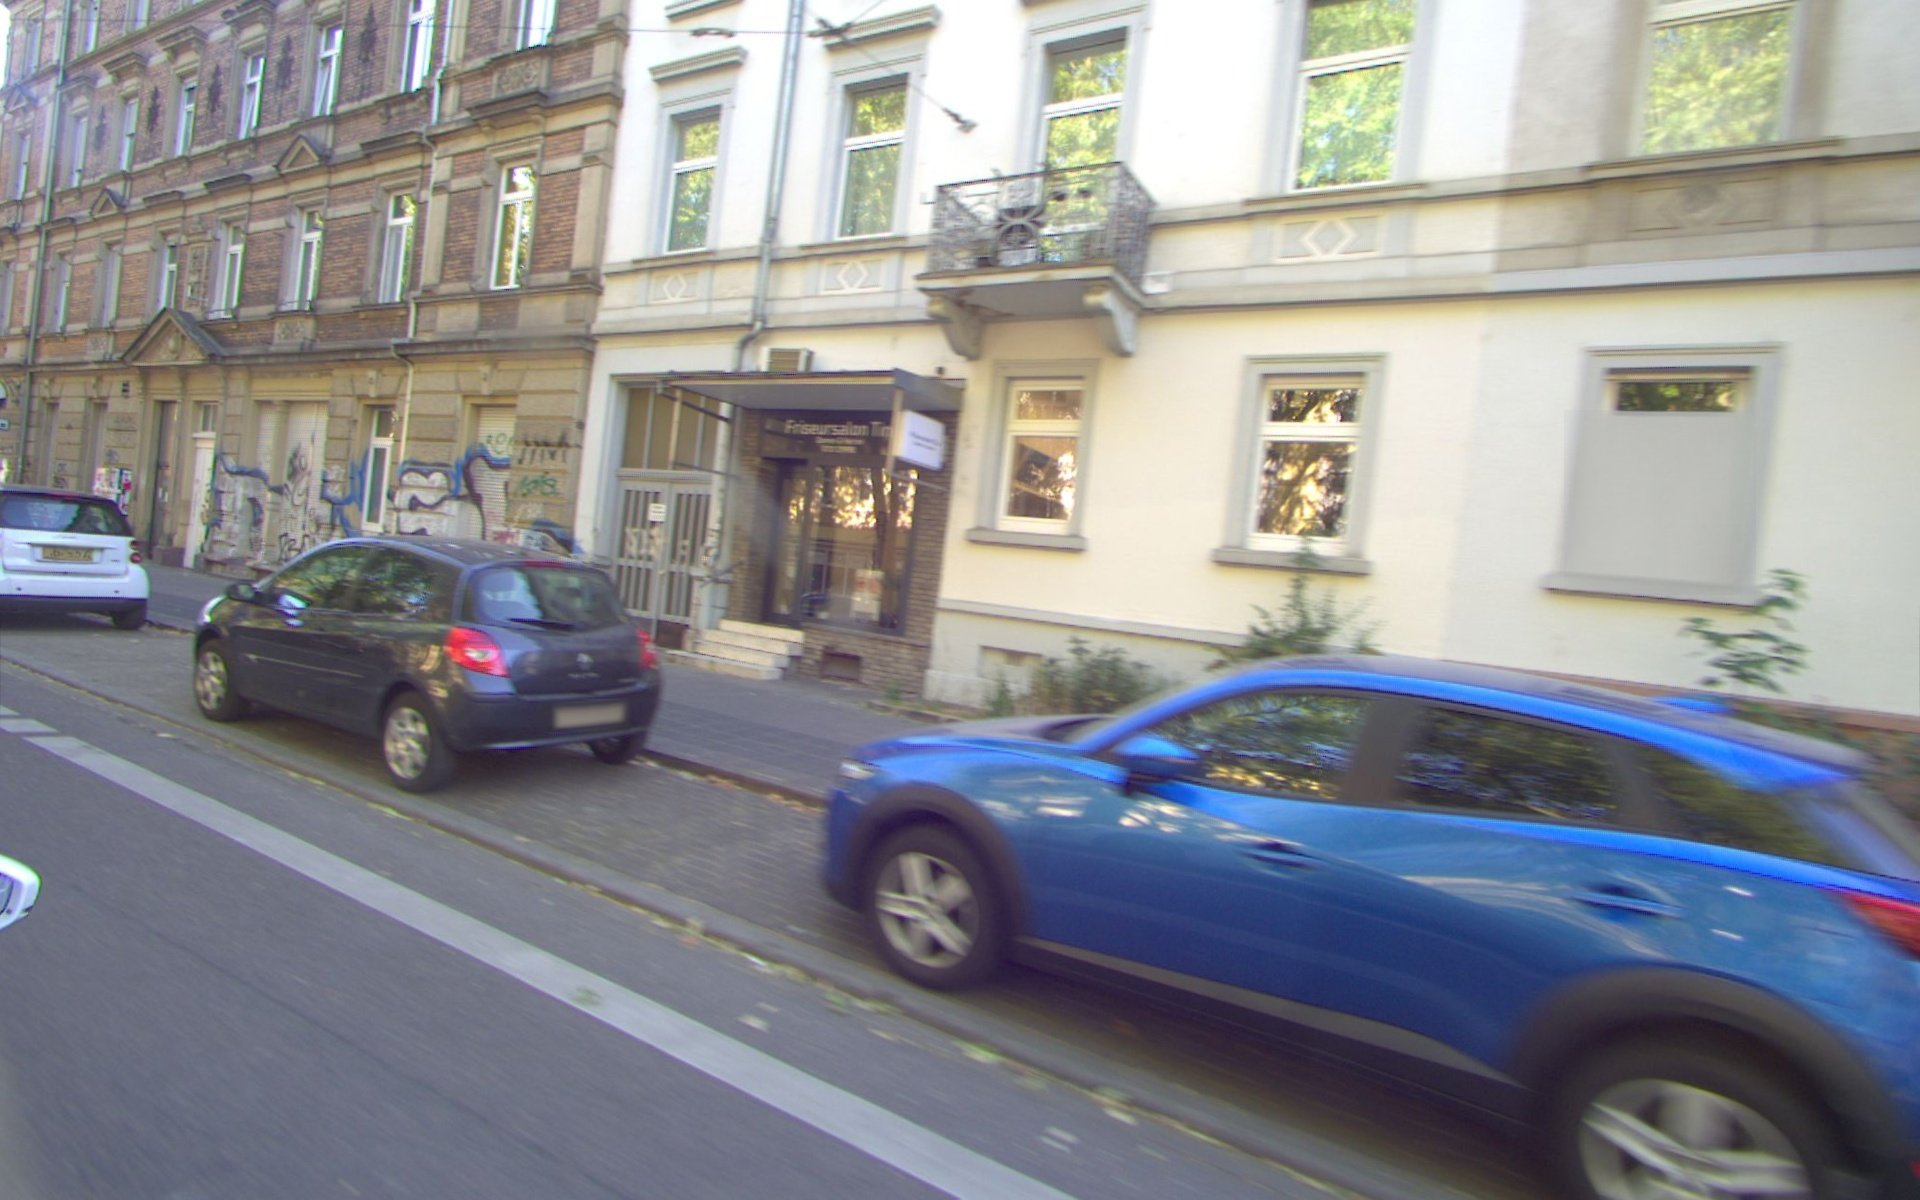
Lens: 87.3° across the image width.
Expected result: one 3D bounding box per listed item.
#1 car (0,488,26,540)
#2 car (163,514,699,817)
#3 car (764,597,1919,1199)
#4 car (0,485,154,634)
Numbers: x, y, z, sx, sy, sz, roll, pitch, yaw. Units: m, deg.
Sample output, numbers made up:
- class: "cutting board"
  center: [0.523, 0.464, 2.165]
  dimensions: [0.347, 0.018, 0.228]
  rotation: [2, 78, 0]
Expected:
- class: "car"
  center: [-36.787, -3.420, 36.071]
  dimensions: [1.845, 1.820, 4.385]
  rotation: [7, -1, 31]
- class: "car"
  center: [-3.892, 0.298, 7.266]
  dimensions: [3.701, 1.504, 1.710]
  rotation: [6, 3, 31]
- class: "car"
  center: [1.347, 0.926, 4.118]
  dimensions: [3.960, 1.476, 1.879]
  rotation: [7, 3, 33]
- class: "car"
  center: [-11.031, -0.546, 11.697]
  dimensions: [2.988, 1.538, 1.568]
  rotation: [6, 3, 29]
